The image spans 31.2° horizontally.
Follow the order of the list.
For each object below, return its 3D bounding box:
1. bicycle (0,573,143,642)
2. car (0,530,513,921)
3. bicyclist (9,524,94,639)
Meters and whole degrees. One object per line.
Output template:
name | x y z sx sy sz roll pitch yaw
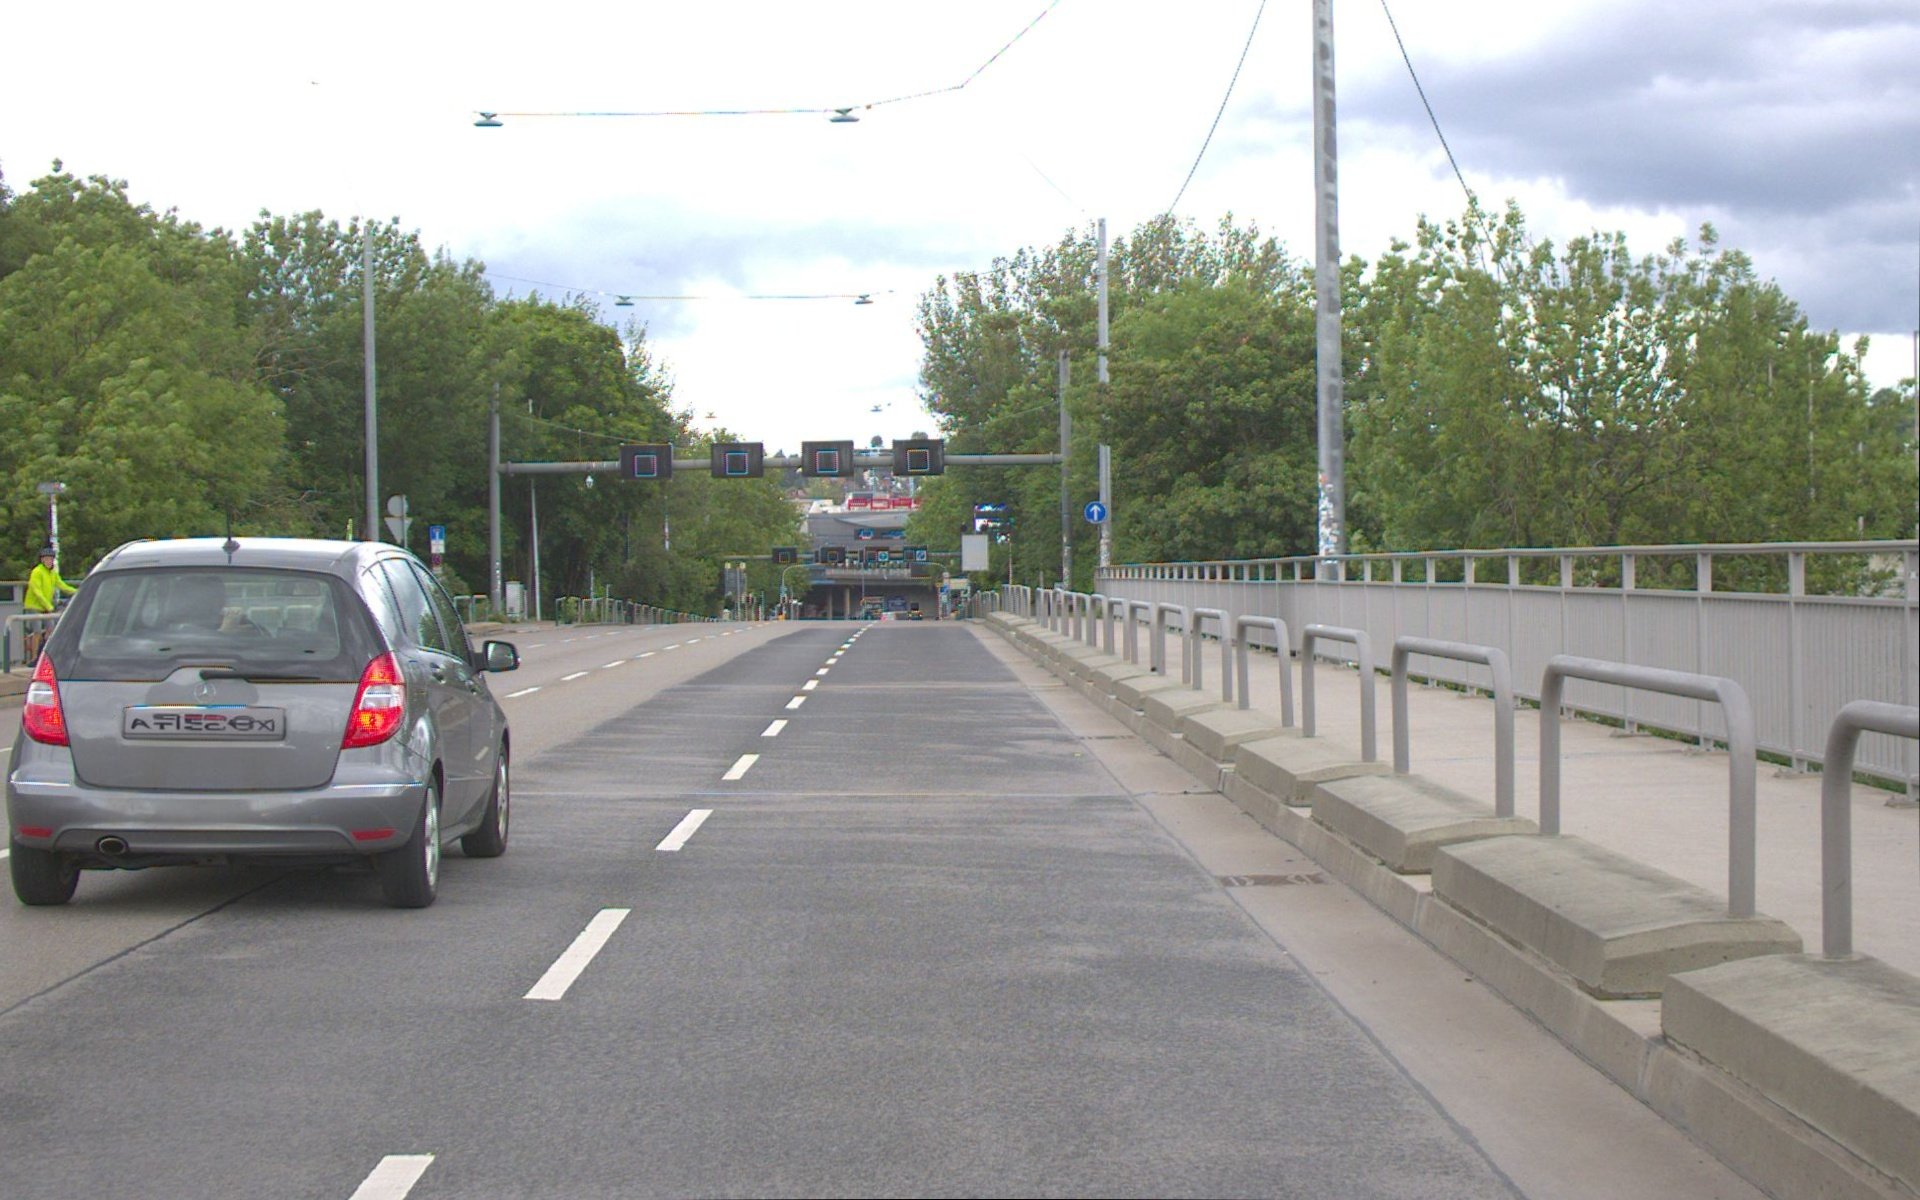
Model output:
bicycle | -14.187 0.115 53.446 2.790 1.047 0.921 0 1 -5
car | -3.131 0.465 15.696 1.745 1.545 3.871 0 1 -1
bicyclist | -14.122 -0.288 53.445 1.132 1.758 0.905 0 1 -5
